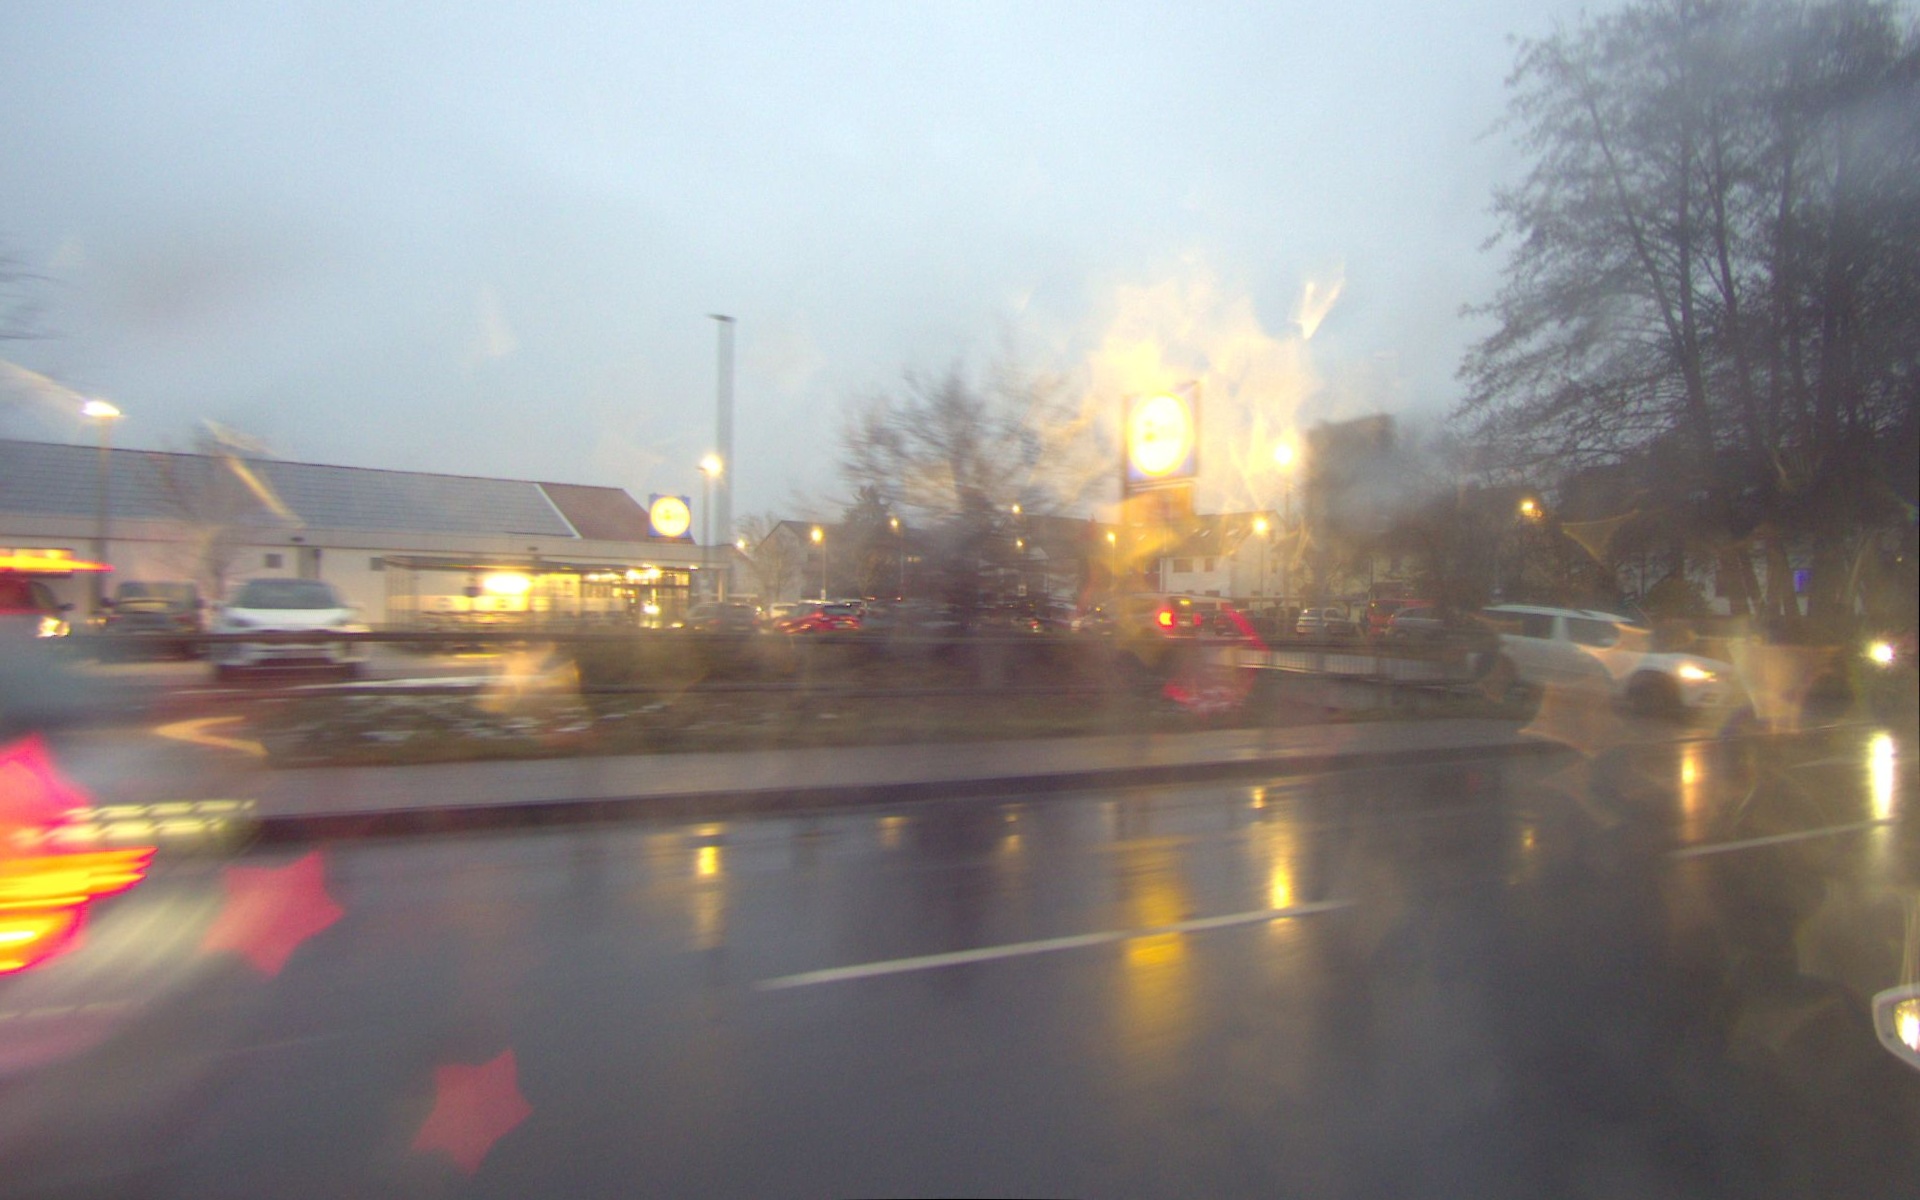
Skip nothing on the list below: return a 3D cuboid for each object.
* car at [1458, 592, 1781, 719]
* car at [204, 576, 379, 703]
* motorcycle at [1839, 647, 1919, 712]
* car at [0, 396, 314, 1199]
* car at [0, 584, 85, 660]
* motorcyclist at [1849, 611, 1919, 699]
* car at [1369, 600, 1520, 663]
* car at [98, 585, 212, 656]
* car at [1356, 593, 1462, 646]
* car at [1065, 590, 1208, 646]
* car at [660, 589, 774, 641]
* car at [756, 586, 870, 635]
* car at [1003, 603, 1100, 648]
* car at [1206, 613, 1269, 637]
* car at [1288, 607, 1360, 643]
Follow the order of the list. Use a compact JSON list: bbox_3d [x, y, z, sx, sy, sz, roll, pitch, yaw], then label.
[{"bbox_3d":[11.194,0.844,17.366,1.879,1.722,4.202,1,2,-32],"label":"car"},{"bbox_3d":[-10.859,0.530,16.146,2.015,1.734,4.733,0,0,-38],"label":"car"},{"bbox_3d":[16.743,1.400,18.073,2.087,1.037,0.860,1,0,-33],"label":"motorcycle"},{"bbox_3d":[-3.657,0.543,1.423,4.360,1.746,1.766,1,0,-25],"label":"car"},{"bbox_3d":[-21.433,0.506,22.817,2.037,1.584,4.398,0,-1,-37],"label":"car"},{"bbox_3d":[16.679,0.962,18.013,0.899,1.505,0.860,1,1,-33],"label":"motorcyclist"},{"bbox_3d":[18.016,1.102,37.504,2.112,2.004,4.602,-1,3,-42],"label":"car"},{"bbox_3d":[-19.724,0.491,24.757,2.037,1.584,4.398,0,-1,-37],"label":"car"},{"bbox_3d":[21.282,0.860,47.578,5.218,2.310,2.264,-1,3,-36],"label":"car"},{"bbox_3d":[5.648,0.517,32.535,1.952,1.694,4.370,-1,1,-40],"label":"car"},{"bbox_3d":[-8.007,0.494,32.809,2.037,1.584,4.398,0,-1,-37],"label":"car"},{"bbox_3d":[-5.137,0.374,34.653,2.037,1.584,4.398,0,-1,-37],"label":"car"},{"bbox_3d":[3.893,1.038,42.537,3.968,1.639,1.895,-1,3,-41],"label":"car"},{"bbox_3d":[15.194,1.343,54.903,3.360,1.146,1.549,-1,4,-36],"label":"car"},{"bbox_3d":[18.735,1.252,51.697,3.674,1.662,1.682,-1,4,-36],"label":"car"}]
